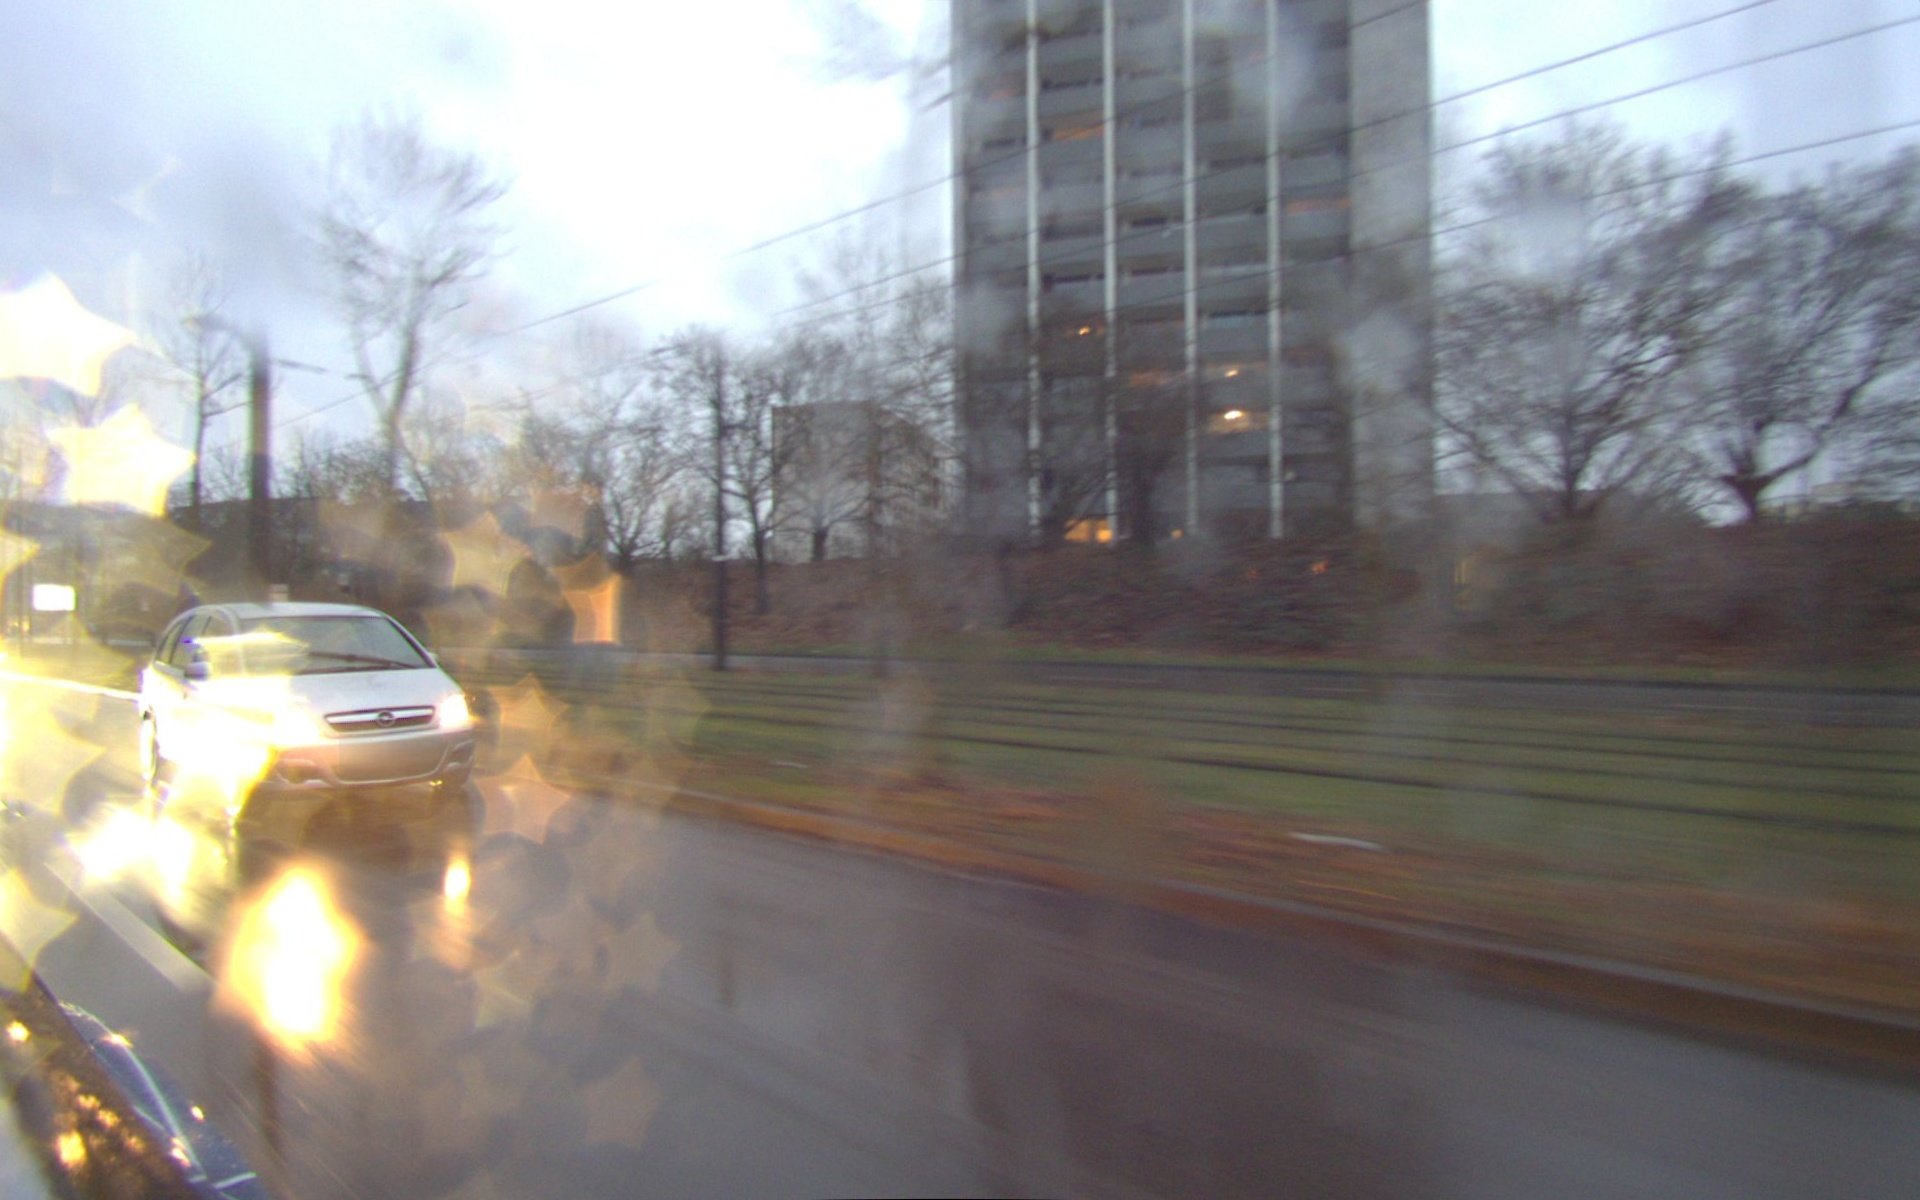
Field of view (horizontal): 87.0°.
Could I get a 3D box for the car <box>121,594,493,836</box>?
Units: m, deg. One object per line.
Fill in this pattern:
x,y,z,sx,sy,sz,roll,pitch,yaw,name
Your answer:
-5.695,0.802,8.636,3.921,1.587,1.648,-2,0,41,car
